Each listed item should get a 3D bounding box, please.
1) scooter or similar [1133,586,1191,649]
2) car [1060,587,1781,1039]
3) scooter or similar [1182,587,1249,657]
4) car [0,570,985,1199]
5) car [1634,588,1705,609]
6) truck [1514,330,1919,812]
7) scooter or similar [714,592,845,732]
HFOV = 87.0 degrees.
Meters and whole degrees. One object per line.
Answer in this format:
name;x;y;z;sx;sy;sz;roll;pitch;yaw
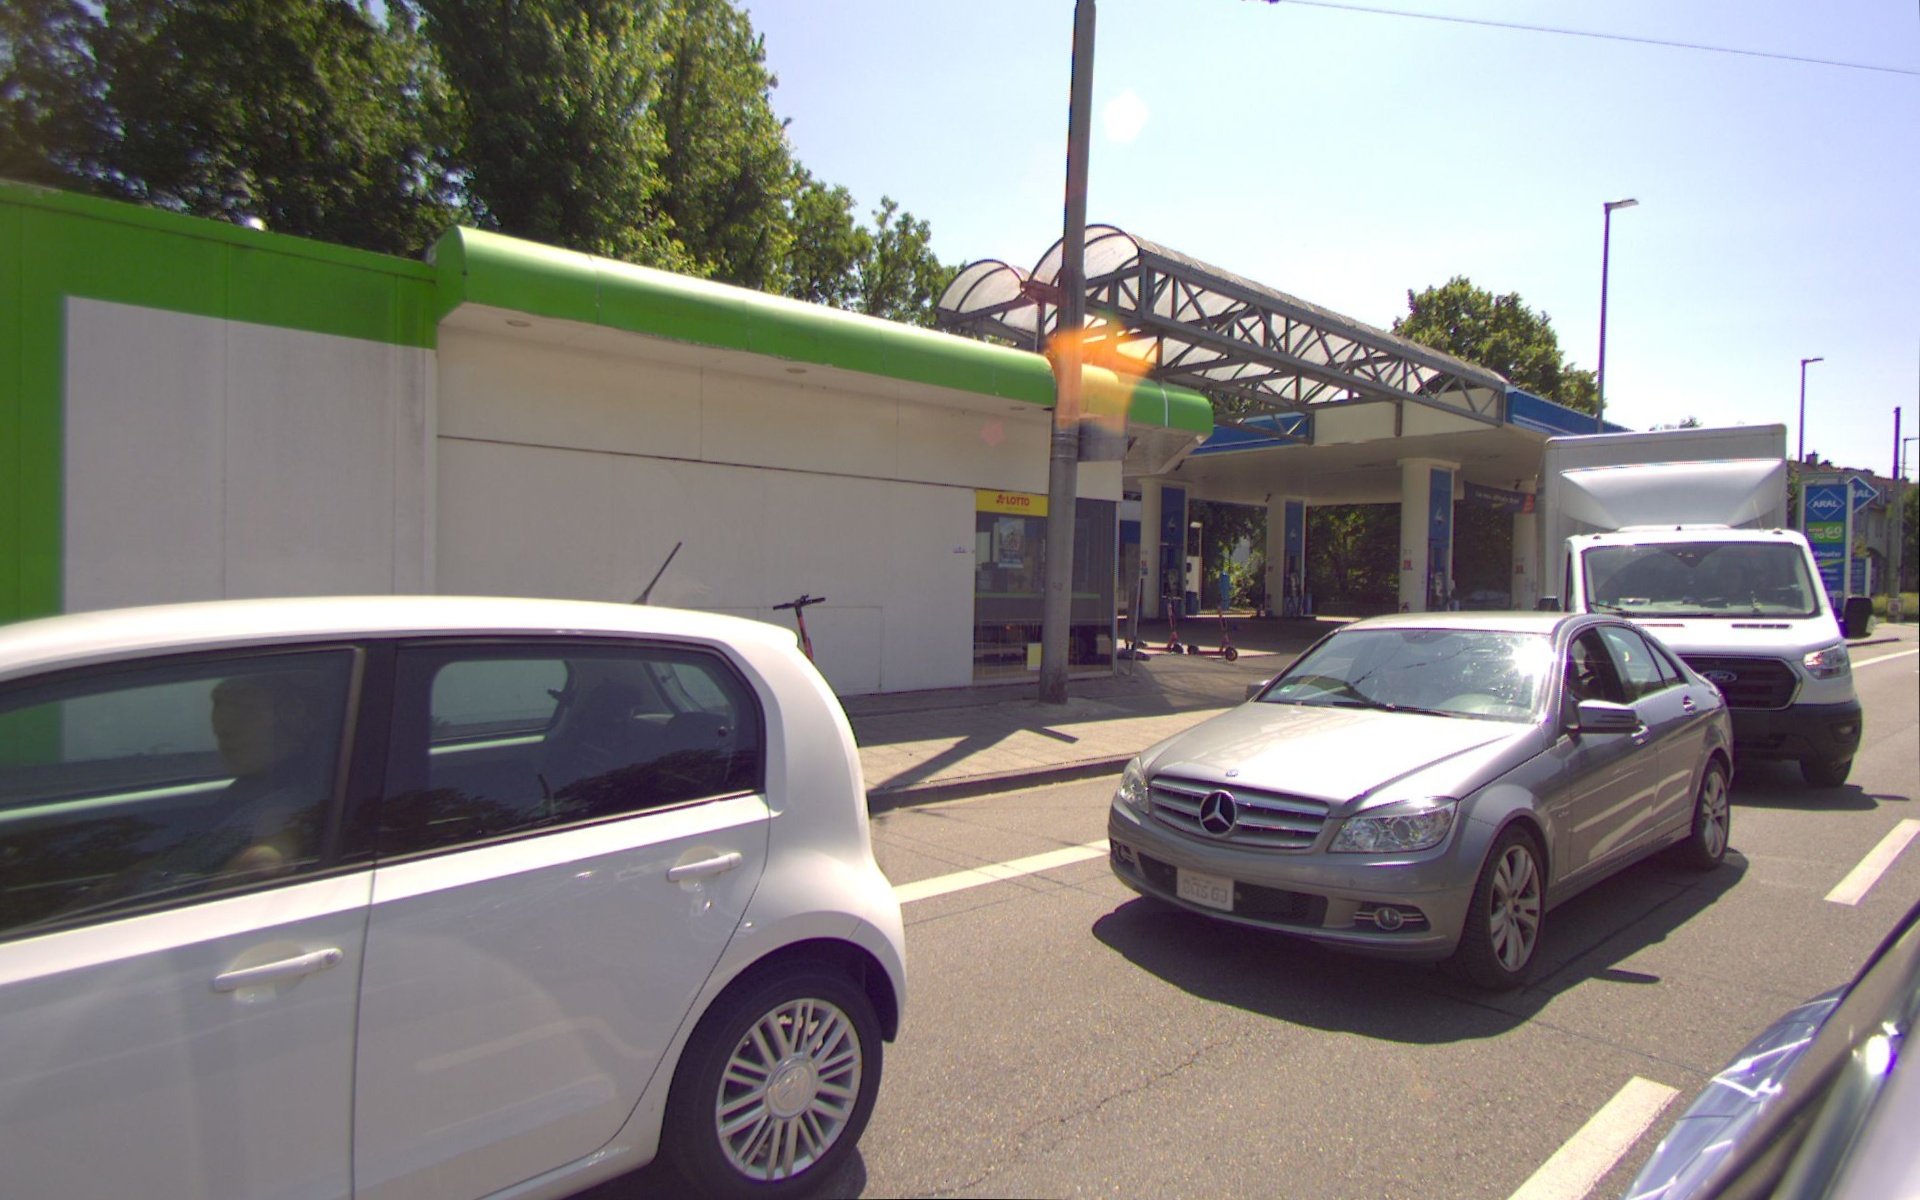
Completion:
scooter or similar;3.968;0.334;19.920;0.377;1.191;1.138;0;1;-39
car;2.712;0.691;5.428;4.339;1.467;1.800;0;1;-40
scooter or similar;4.758;0.389;18.895;0.404;1.256;1.176;0;1;-39
car;-1.776;0.678;2.273;3.458;1.469;1.610;0;1;-40
car;57.073;-0.128;81.436;1.961;1.540;4.230;0;1;-32
truck;7.693;-0.283;11.146;2.404;3.433;7.761;1;1;26
scooter or similar;-1.664;0.539;9.379;1.117;1.209;0.384;0;4;-36
